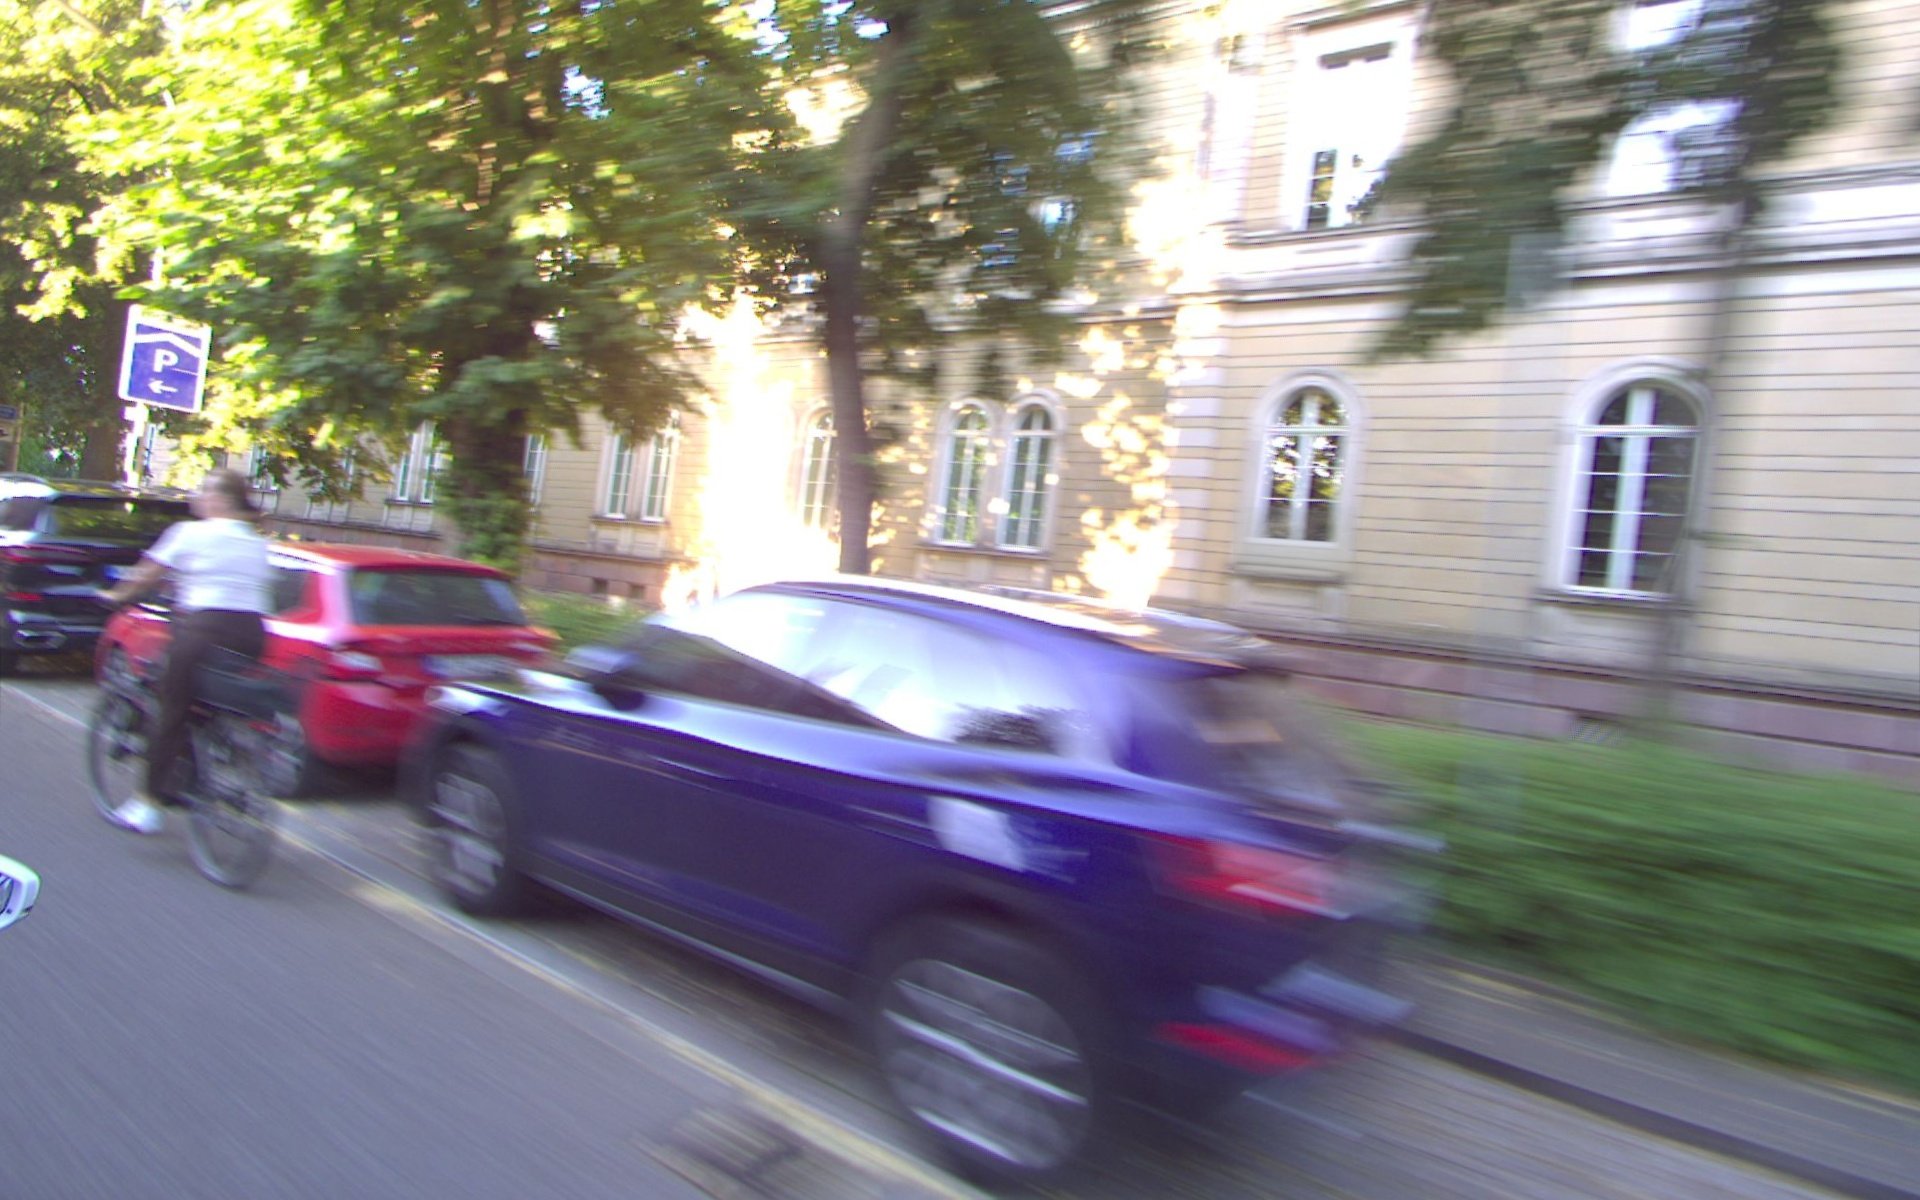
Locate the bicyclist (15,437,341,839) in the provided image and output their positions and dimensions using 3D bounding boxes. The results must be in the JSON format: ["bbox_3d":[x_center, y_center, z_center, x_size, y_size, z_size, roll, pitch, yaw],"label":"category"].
[{"bbox_3d":[-3.637,0.144,4.688,1.021,1.632,0.752,7,0,32],"label":"bicyclist"}]

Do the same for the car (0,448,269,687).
[{"bbox_3d":[-9.009,-0.379,10.009,4.870,1.835,1.806,6,-2,35],"label":"car"}]

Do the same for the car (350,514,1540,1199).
[{"bbox_3d":[-0.379,0.711,4.216,4.621,1.707,1.883,6,-2,35],"label":"car"}]

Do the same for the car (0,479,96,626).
[{"bbox_3d":[-13.354,-0.771,13.302,4.428,1.702,1.725,6,-2,34],"label":"car"}]

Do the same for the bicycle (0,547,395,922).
[{"bbox_3d":[-3.688,0.515,4.718,2.173,1.268,0.752,7,0,32],"label":"bicycle"}]

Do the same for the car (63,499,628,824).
[{"bbox_3d":[-4.407,0.296,7.074,3.904,1.607,1.726,6,-2,32],"label":"car"}]
